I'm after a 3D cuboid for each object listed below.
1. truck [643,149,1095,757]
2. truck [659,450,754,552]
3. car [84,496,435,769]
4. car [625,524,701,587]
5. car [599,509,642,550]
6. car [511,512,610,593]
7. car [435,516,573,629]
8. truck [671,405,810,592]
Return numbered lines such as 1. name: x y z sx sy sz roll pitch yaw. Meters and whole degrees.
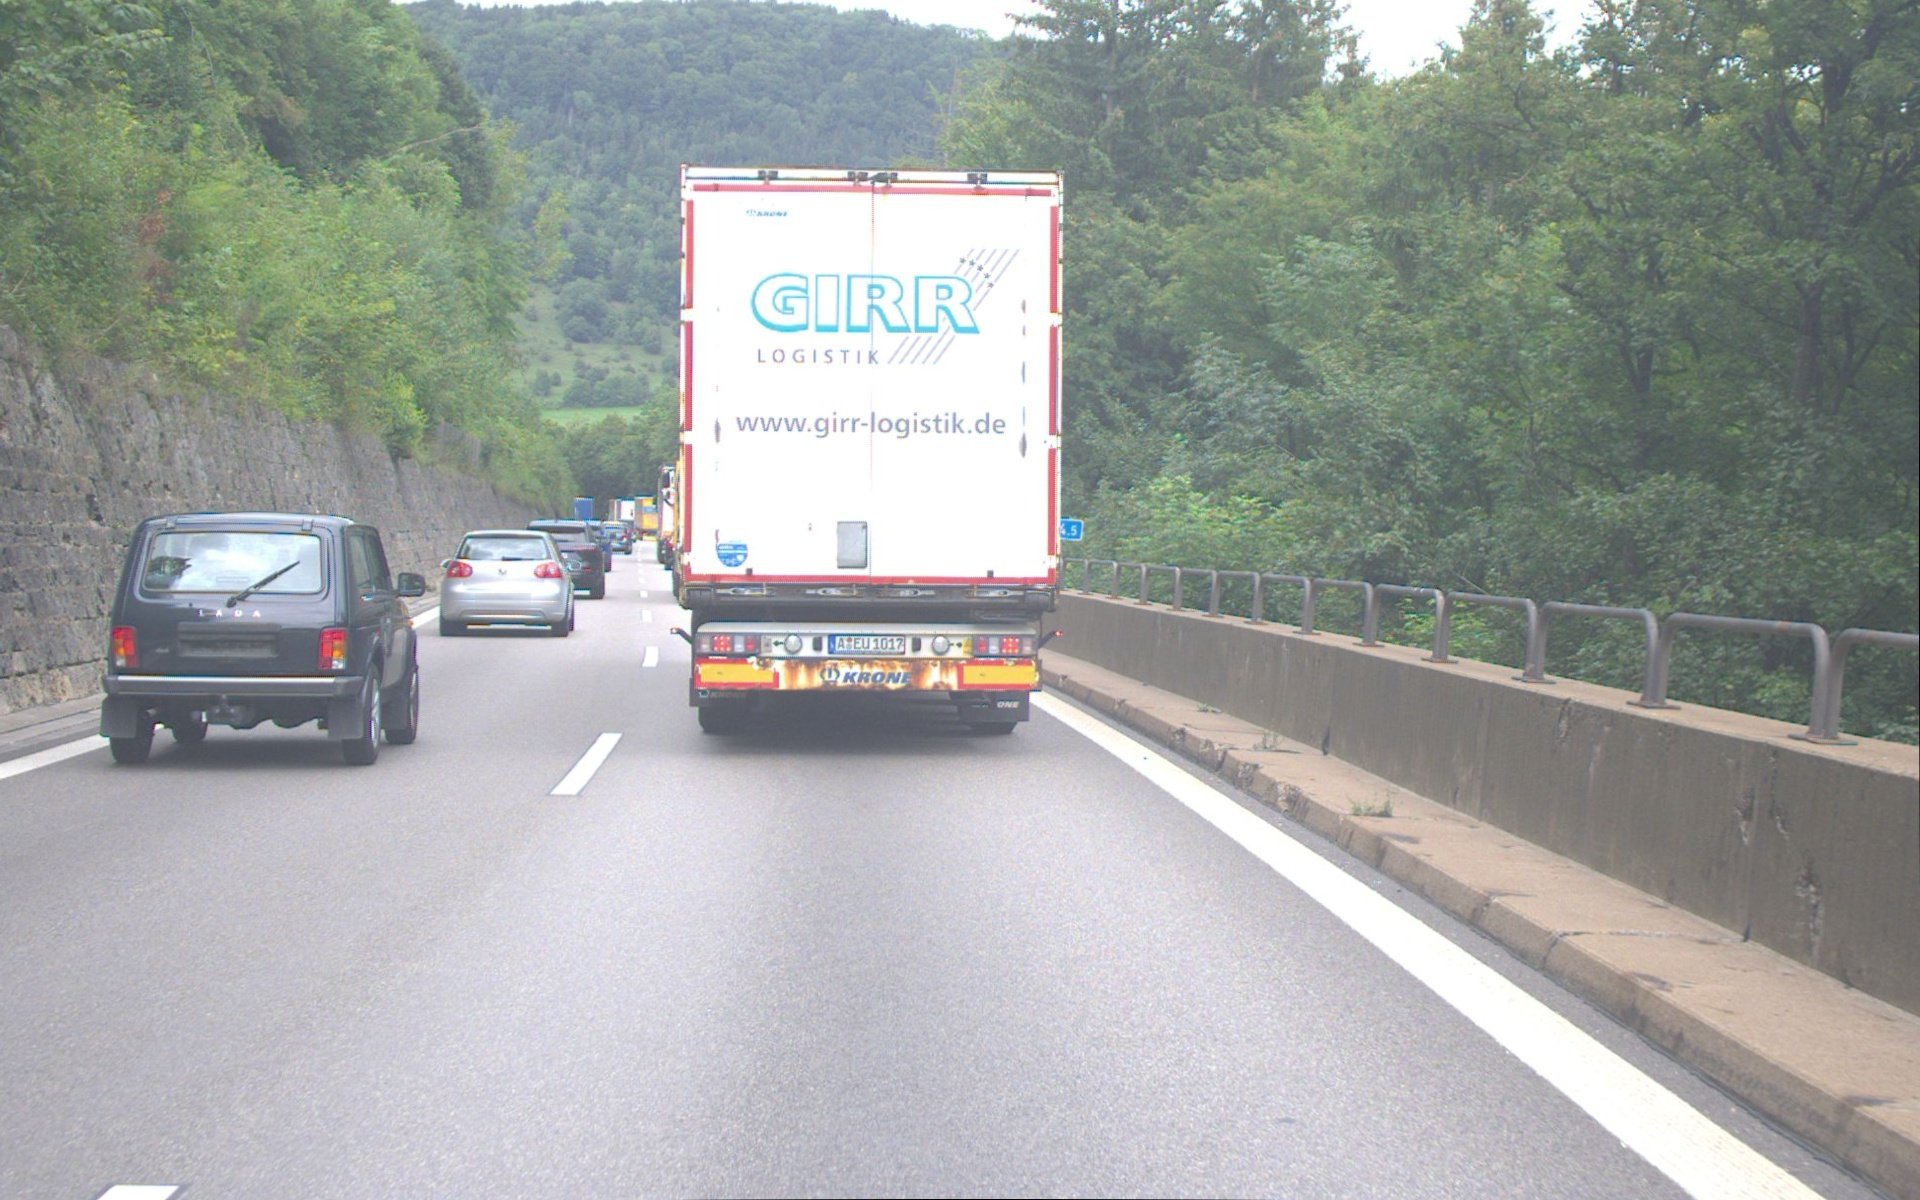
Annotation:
1. truck: -0.777 -1.044 27.230 2.908 3.947 9.280 1 1 -2
2. truck: -10.324 -3.985 141.261 3.510 3.834 11.778 1 0 -3
3. car: -4.563 0.171 22.919 1.669 1.633 4.069 1 1 -3
4. car: -9.913 -1.475 115.000 1.994 2.007 4.000 1 0 3
5. car: -17.140 -3.548 173.559 1.993 2.007 4.001 1 0 -4
6. car: -8.199 -0.985 70.818 1.916 1.589 4.180 1 1 -5
7. car: -6.316 -0.400 47.938 1.729 1.481 4.001 1 1 -5
8. truck: -4.624 -2.032 71.082 2.485 3.559 9.310 1 1 -6
